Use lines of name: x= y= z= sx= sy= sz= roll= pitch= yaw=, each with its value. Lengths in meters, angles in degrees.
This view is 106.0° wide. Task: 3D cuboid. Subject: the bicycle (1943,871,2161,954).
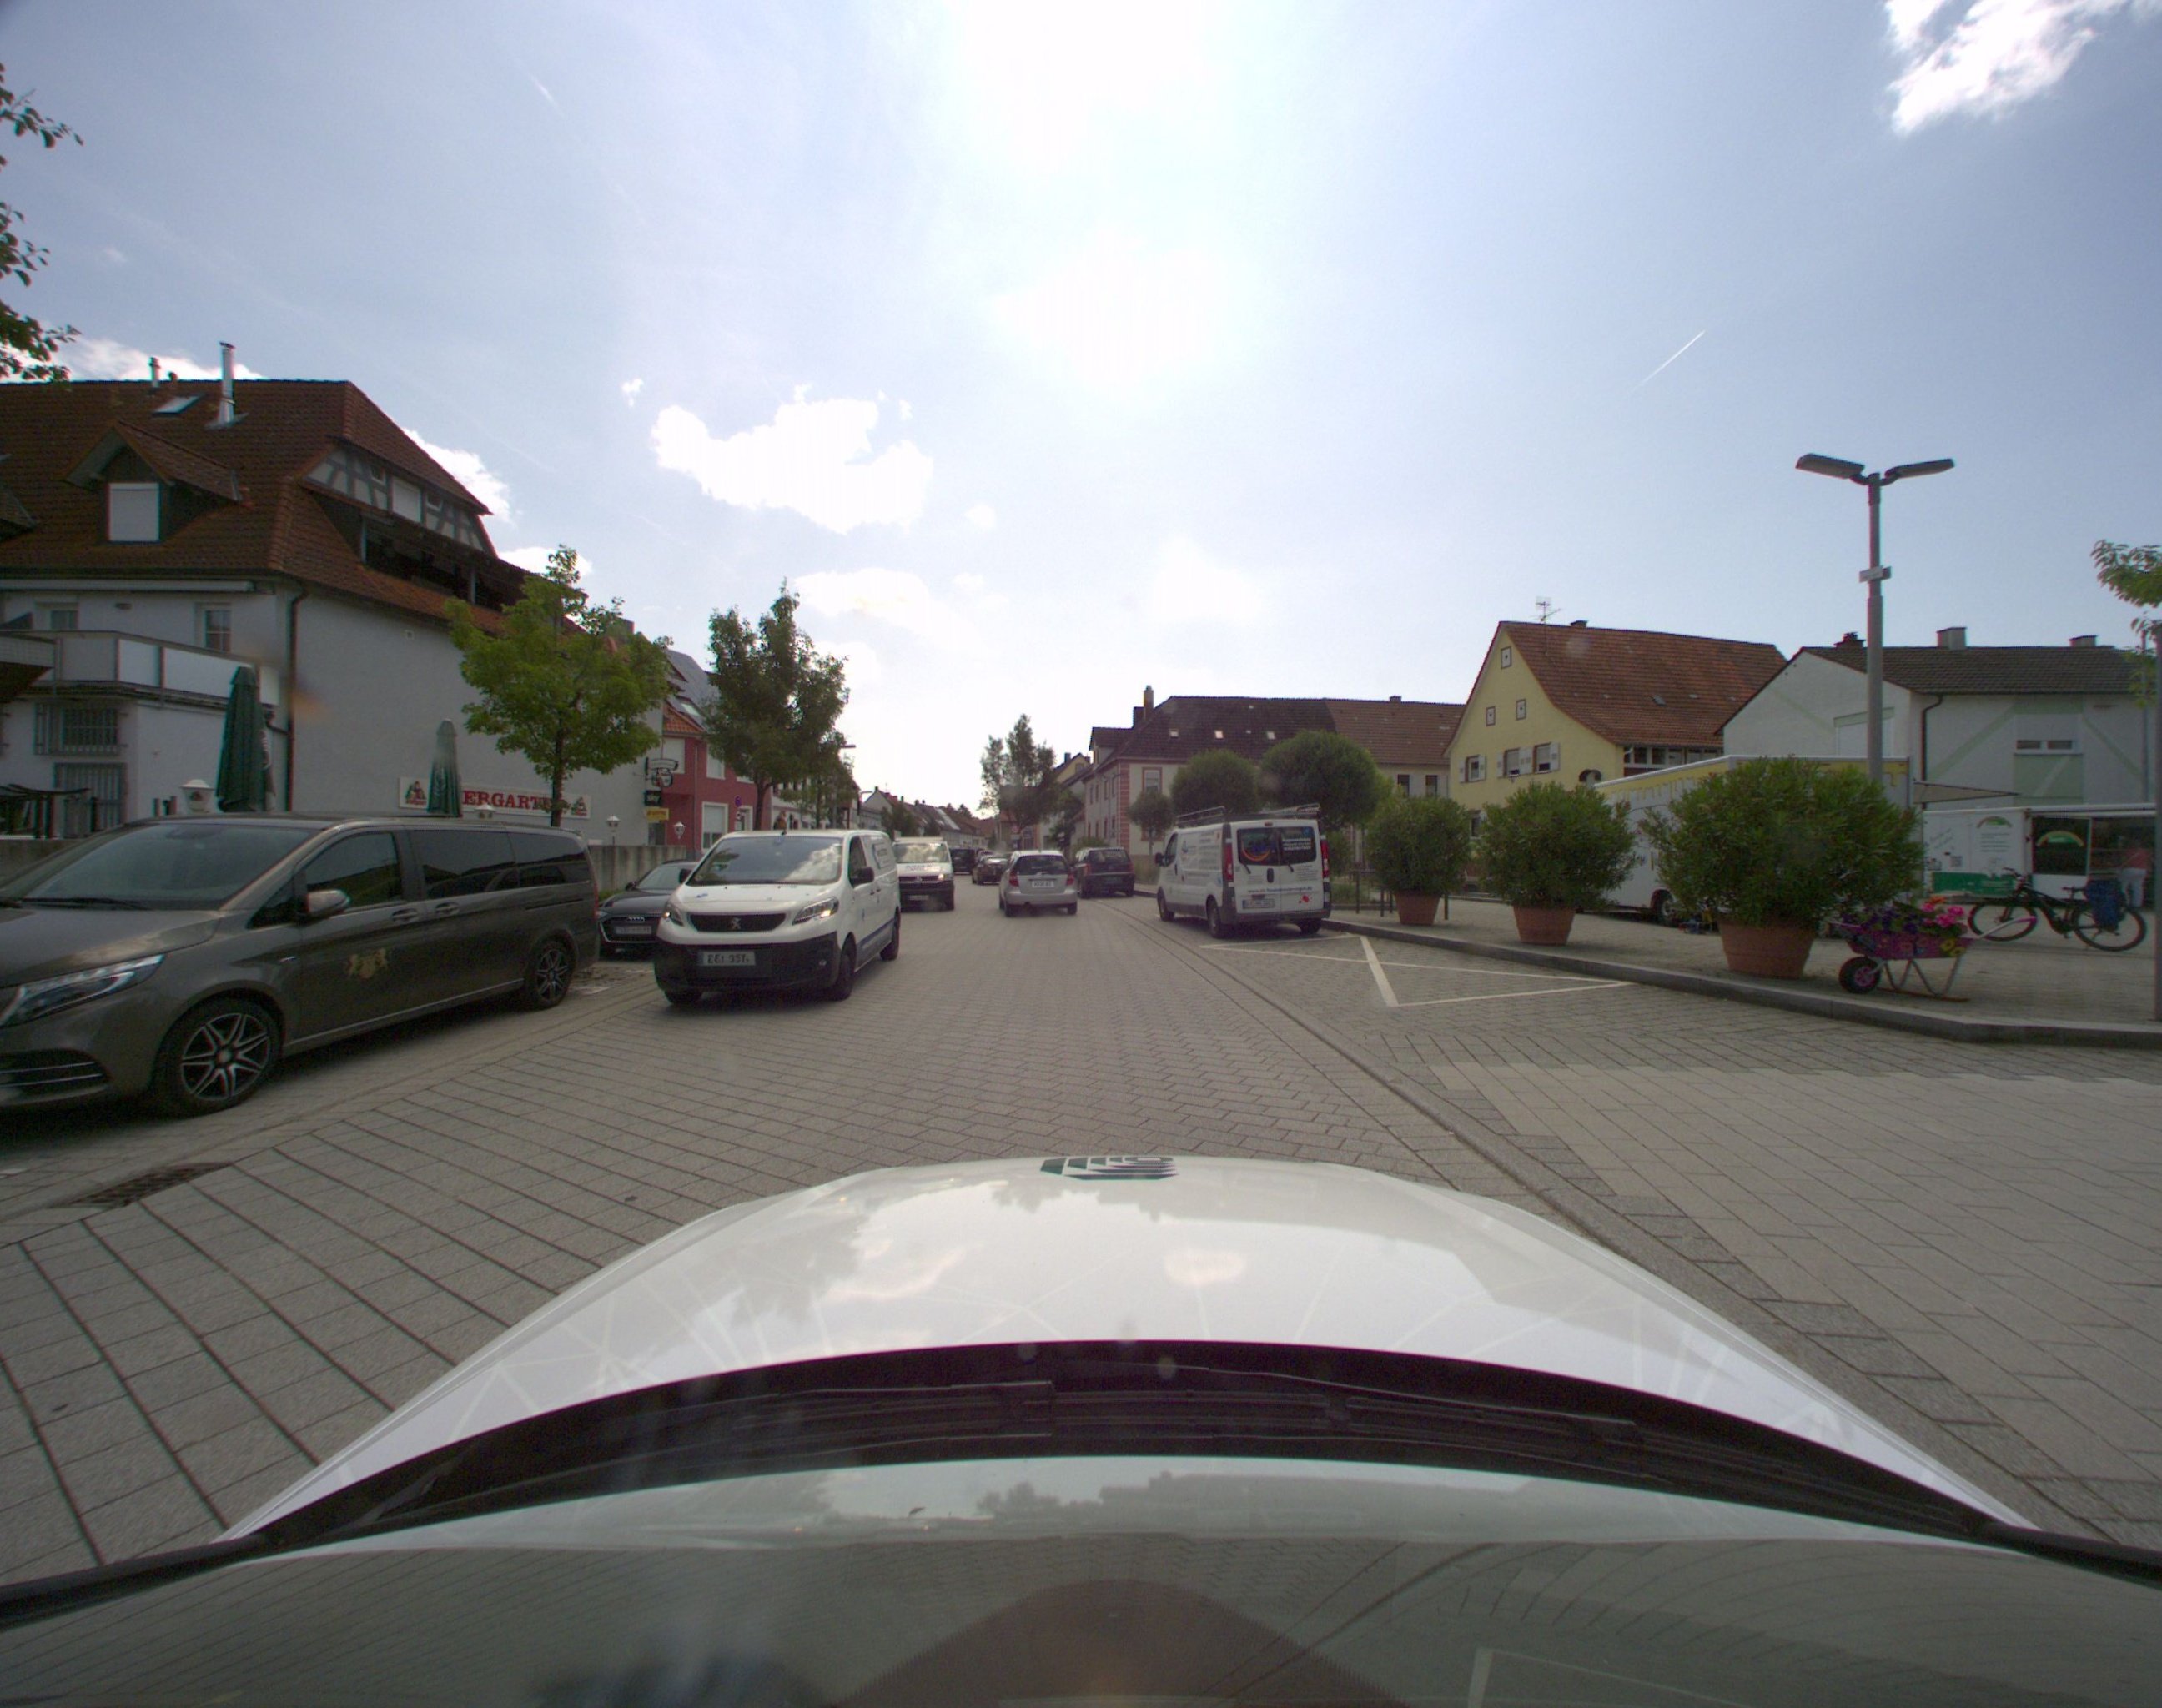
bicycle: x=14.363 y=0.811 z=12.088 sx=0.754 sy=1.068 sz=2.105 roll=0 pitch=0 yaw=-9

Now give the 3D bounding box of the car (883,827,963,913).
car: x=-4.655 y=0.405 z=23.469 sx=1.891 sy=2.186 sz=5.003 roll=0 pitch=0 yaw=-16

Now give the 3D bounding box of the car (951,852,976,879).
car: x=-8.874 y=0.849 z=61.495 sx=1.768 sy=1.888 sz=4.434 roll=3 pitch=-1 yaw=-8

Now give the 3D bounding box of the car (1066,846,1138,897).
car: x=0.609 y=0.530 z=27.415 sx=1.768 sy=1.564 sz=4.406 roll=0 pitch=0 yaw=-8

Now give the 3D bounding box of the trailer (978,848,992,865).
trailer: x=-13.795 y=0.387 z=116.728 sx=1.845 sy=2.354 sz=3.577 roll=-1 pitch=0 yaw=-10

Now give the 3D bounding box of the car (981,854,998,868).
car: x=-10.551 y=0.771 z=93.782 sx=1.774 sy=1.495 sz=4.148 roll=0 pitch=0 yaw=-9

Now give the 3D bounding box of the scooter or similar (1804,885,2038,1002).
scooter or similar: x=6.999 y=0.722 z=6.842 sx=1.138 sy=0.881 sz=0.815 roll=0 pitch=0 yaw=0

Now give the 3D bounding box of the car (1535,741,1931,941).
car: x=11.729 y=-0.181 z=15.762 sx=2.737 sy=2.963 sz=7.129 roll=1 pitch=0 yaw=8

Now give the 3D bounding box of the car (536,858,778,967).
car: x=-6.518 y=0.791 z=13.196 sx=1.812 sy=1.423 sz=4.530 roll=0 pitch=0 yaw=-4

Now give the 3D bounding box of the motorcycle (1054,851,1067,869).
motorcycle: x=-1.315 y=0.367 z=51.893 sx=0.525 sy=1.123 sz=1.062 roll=0 pitch=0 yaw=-16

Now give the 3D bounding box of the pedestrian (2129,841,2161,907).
pedestrian: x=25.764 y=0.473 z=19.406 sx=0.557 sy=1.540 sz=0.815 roll=0 pitch=0 yaw=2

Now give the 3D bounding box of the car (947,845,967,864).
car: x=-14.957 y=0.119 z=98.131 sx=2.236 sy=2.222 sz=3.987 roll=-1 pitch=-1 yaw=-9

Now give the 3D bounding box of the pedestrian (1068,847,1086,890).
pedestrian: x=-0.148 y=0.543 z=31.449 sx=0.638 sy=1.629 sz=0.619 roll=0 pitch=0 yaw=-7

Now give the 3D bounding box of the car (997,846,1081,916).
car: x=-1.192 y=0.622 z=21.151 sx=1.768 sy=1.594 sz=3.988 roll=-1 pitch=0 yaw=-9

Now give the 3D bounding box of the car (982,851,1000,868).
car: x=-11.374 y=0.662 z=102.418 sx=1.892 sy=1.982 sz=4.915 roll=-2 pitch=0 yaw=-9

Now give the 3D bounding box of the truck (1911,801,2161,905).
truck: x=26.496 y=-0.025 z=21.166 sx=6.776 sy=2.497 sz=2.959 roll=0 pitch=0 yaw=2

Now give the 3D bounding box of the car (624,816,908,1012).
car: x=-3.562 y=0.572 z=10.344 sx=1.990 sy=1.880 sz=4.859 roll=0 pitch=0 yaw=-4

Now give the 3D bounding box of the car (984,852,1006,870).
car: x=-8.588 y=0.695 z=81.303 sx=1.993 sy=1.680 sz=4.309 roll=0 pitch=0 yaw=-9

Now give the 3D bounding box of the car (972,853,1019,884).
car: x=-4.164 y=0.680 z=39.341 sx=1.946 sy=1.407 sz=3.985 roll=0 pitch=0 yaw=-11

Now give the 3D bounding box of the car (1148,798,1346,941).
car: x=2.831 y=0.234 z=15.326 sx=1.942 sy=2.177 sz=5.085 roll=-2 pitch=0 yaw=-9

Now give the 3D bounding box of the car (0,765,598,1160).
car: x=-6.239 y=0.533 z=6.551 sx=1.983 sy=1.990 sz=5.037 roll=0 pitch=0 yaw=-4

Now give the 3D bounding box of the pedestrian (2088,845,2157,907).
pedestrian: x=24.882 y=0.527 z=19.465 sx=0.640 sy=1.442 sz=0.761 roll=-1 pitch=-1 yaw=0
